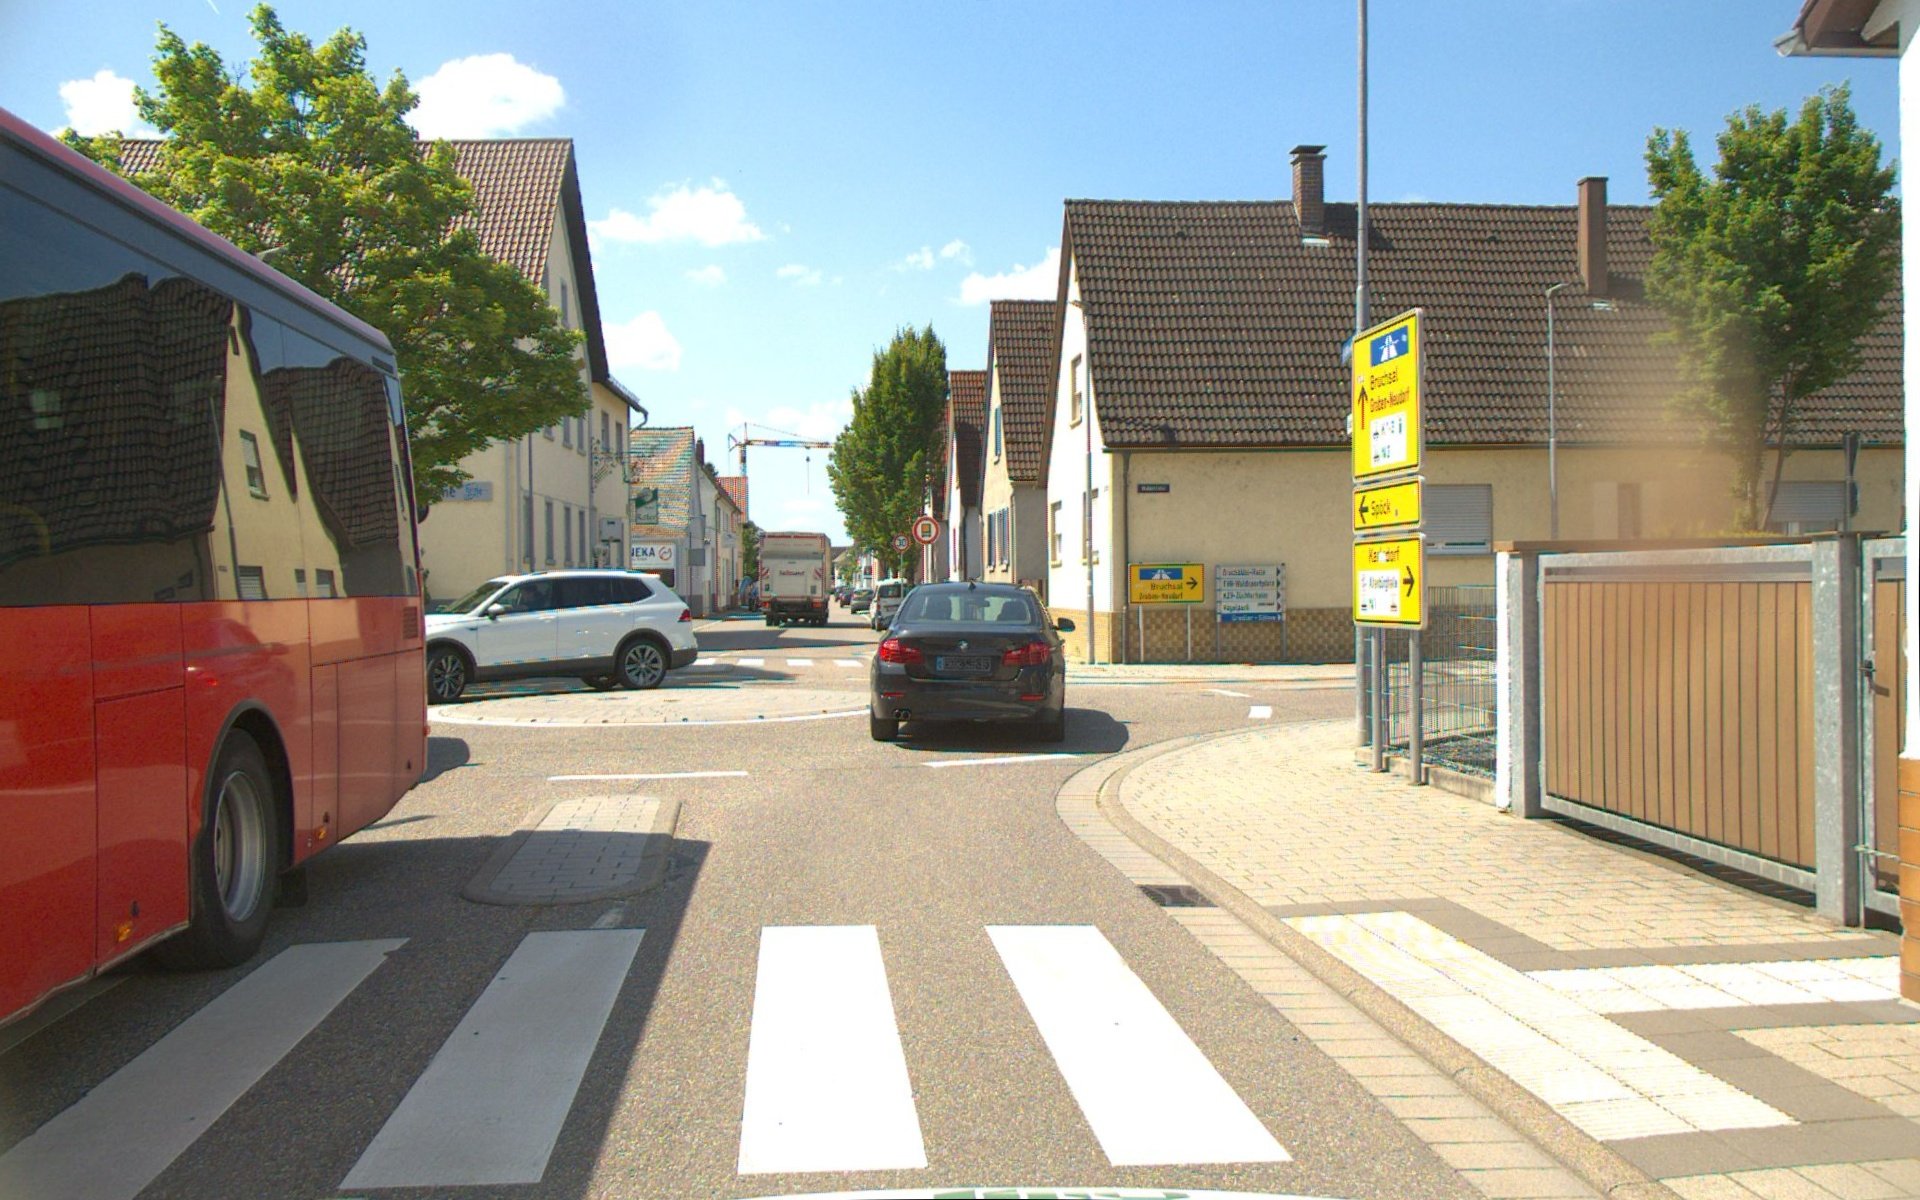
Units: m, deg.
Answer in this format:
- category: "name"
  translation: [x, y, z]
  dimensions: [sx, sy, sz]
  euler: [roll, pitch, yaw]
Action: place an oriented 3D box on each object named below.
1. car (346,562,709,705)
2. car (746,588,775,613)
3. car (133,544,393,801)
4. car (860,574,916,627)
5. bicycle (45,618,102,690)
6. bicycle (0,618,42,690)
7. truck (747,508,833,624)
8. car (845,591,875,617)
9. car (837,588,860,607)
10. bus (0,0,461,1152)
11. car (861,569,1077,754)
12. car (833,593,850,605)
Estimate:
- category: "car"
  translation: [-5.891, 0.389, 22.710]
  dimensions: [4.486, 1.739, 1.851]
  euler: [-1, 1, -33]
- category: "car"
  translation: [-13.372, 0.001, 110.979]
  dimensions: [1.774, 1.617, 3.995]
  euler: [0, 0, -6]
- category: "car"
  translation: [-5.999, 0.476, 14.681]
  dimensions: [1.745, 1.852, 4.418]
  euler: [-3, 2, -19]
- category: "car"
  translation: [-2.667, 0.008, 60.529]
  dimensions: [1.687, 1.821, 4.138]
  euler: [-2, 1, -7]
- category: "bicycle"
  translation: [-14.349, 0.857, 26.804]
  dimensions: [0.393, 1.021, 1.974]
  euler: [-1, 2, -17]
- category: "bicycle"
  translation: [-15.195, 0.845, 26.522]
  dimensions: [0.393, 1.021, 1.974]
  euler: [-1, 2, -17]
- category: "truck"
  translation: [-6.761, -1.287, 67.102]
  dimensions: [3.083, 4.325, 9.295]
  euler: [1, 0, -4]
- category: "car"
  translation: [-5.892, 0.221, 97.360]
  dimensions: [1.685, 1.487, 4.154]
  euler: [0, 0, -3]
- category: "car"
  translation: [-8.478, -0.181, 125.407]
  dimensions: [1.686, 1.379, 4.152]
  euler: [0, 0, -5]
- category: "bus"
  translation: [-3.872, -0.116, 4.034]
  dimensions: [2.576, 3.288, 12.010]
  euler: [-3, 1, -5]
- category: "car"
  translation: [0.223, 0.511, 16.705]
  dimensions: [1.862, 1.591, 4.479]
  euler: [-1, 1, 4]
- category: "car"
  translation: [-12.527, -0.106, 174.410]
  dimensions: [1.686, 1.291, 4.152]
  euler: [0, 0, -5]
